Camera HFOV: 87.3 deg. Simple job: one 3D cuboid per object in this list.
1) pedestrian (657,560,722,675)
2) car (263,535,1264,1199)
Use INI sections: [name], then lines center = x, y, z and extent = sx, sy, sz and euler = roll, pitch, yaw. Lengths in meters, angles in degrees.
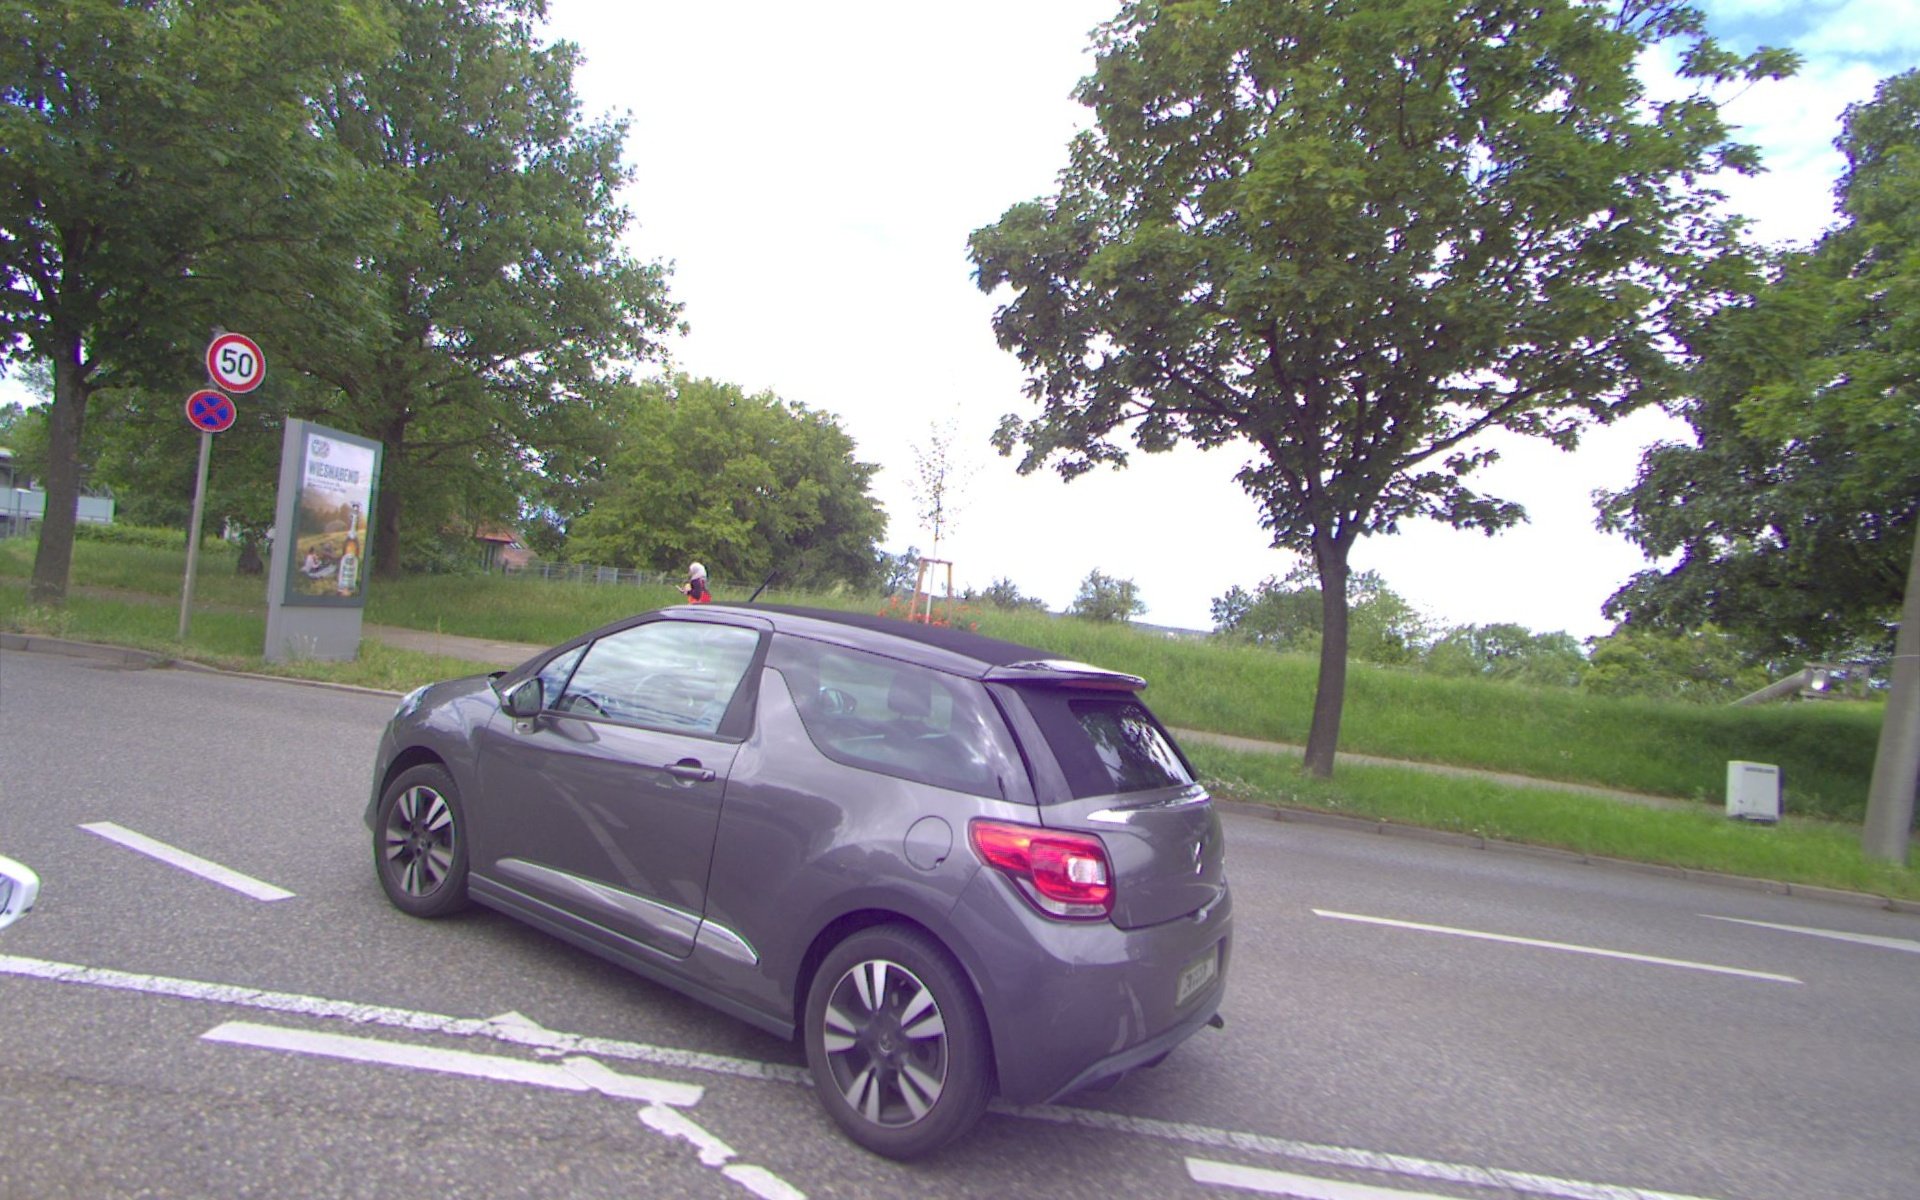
[pedestrian]
center = -4.119, 0.255, 15.348
extent = 0.689, 1.627, 0.541
euler = 7, 5, 1
[car]
center = -1.010, 0.698, 4.291
extent = 3.995, 1.478, 1.703
euler = 6, -1, 32
